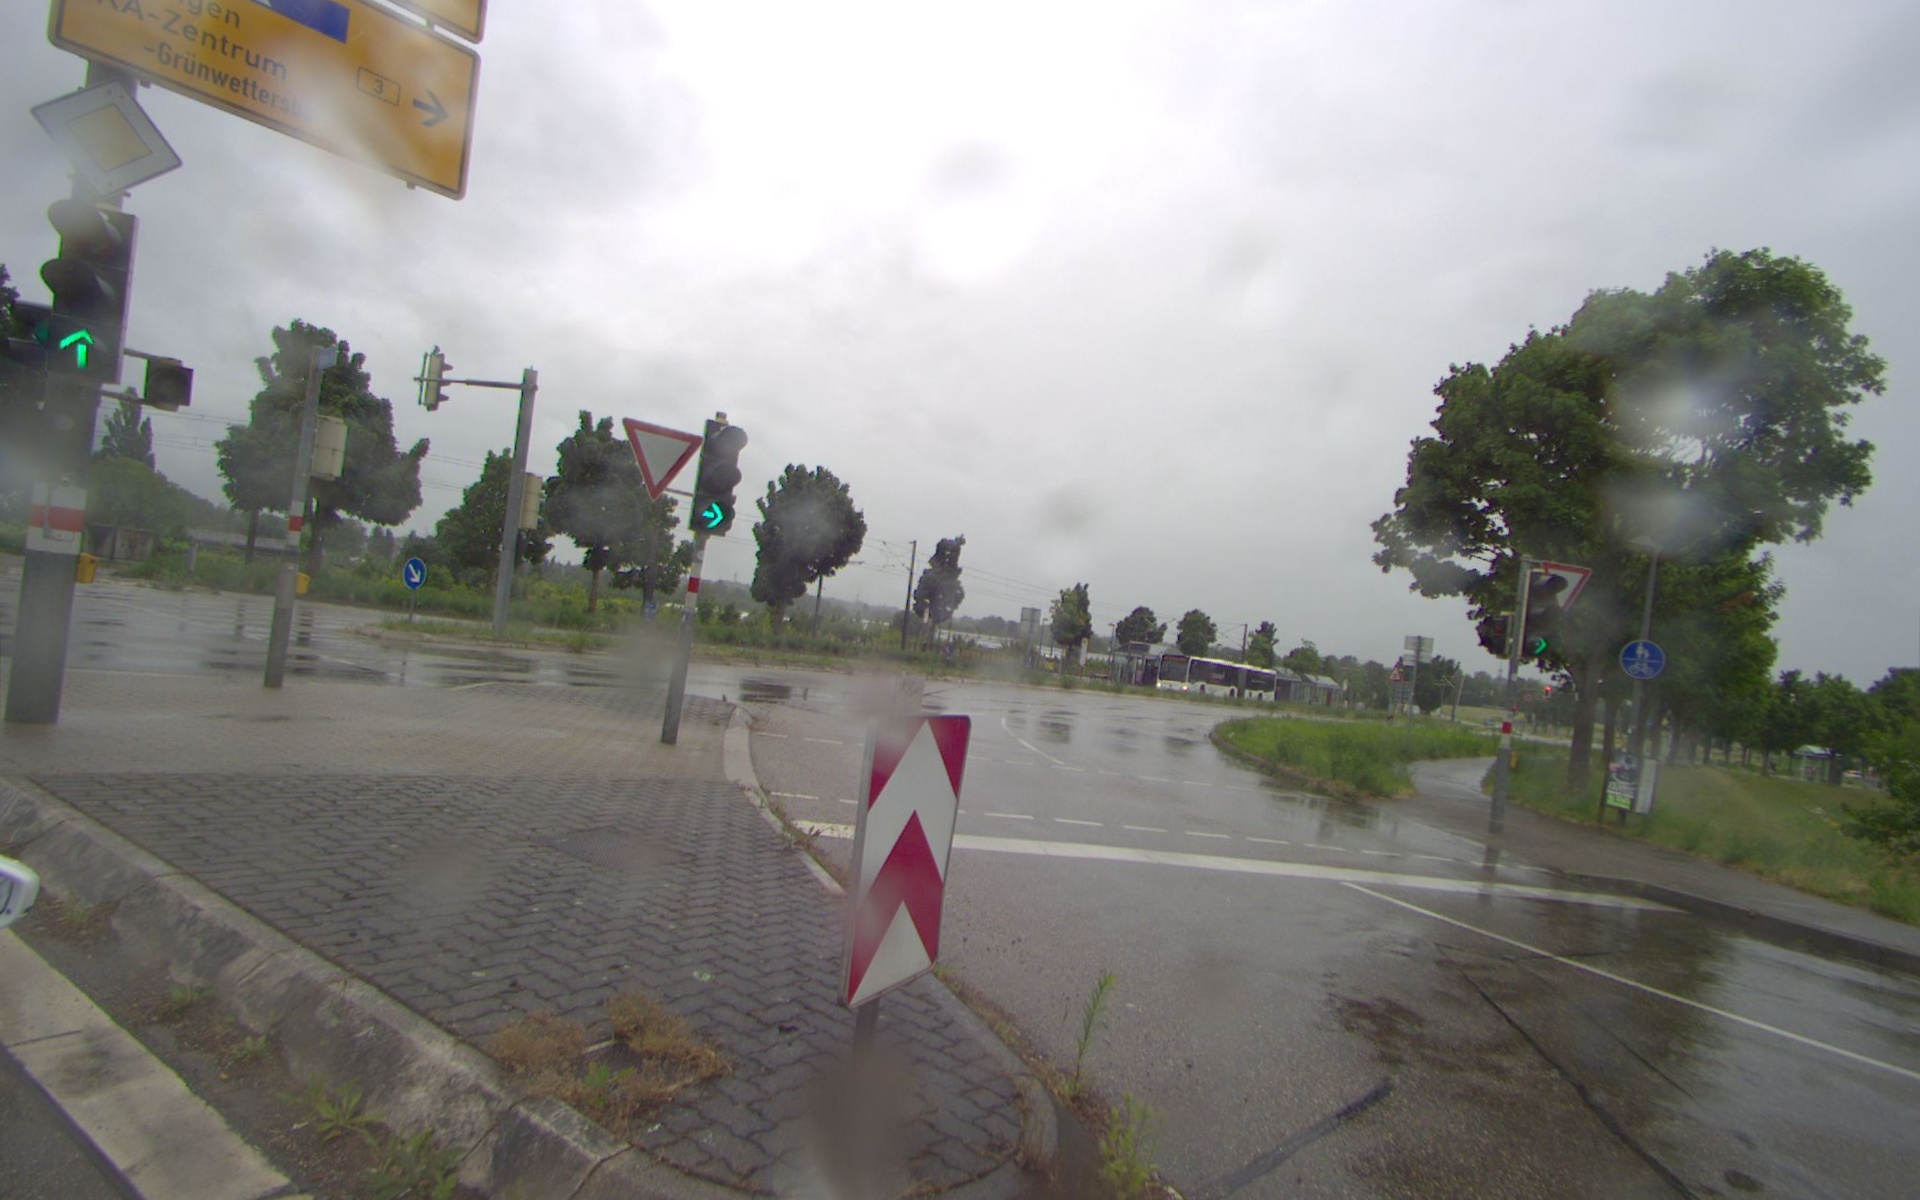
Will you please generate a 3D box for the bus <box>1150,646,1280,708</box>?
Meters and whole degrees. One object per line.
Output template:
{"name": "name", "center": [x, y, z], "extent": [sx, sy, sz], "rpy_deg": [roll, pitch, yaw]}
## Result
{"name": "bus", "center": [20.551, 6.313, 79.369], "extent": [2.714, 3.828, 18.385], "rpy_deg": [7, -2, 37]}
